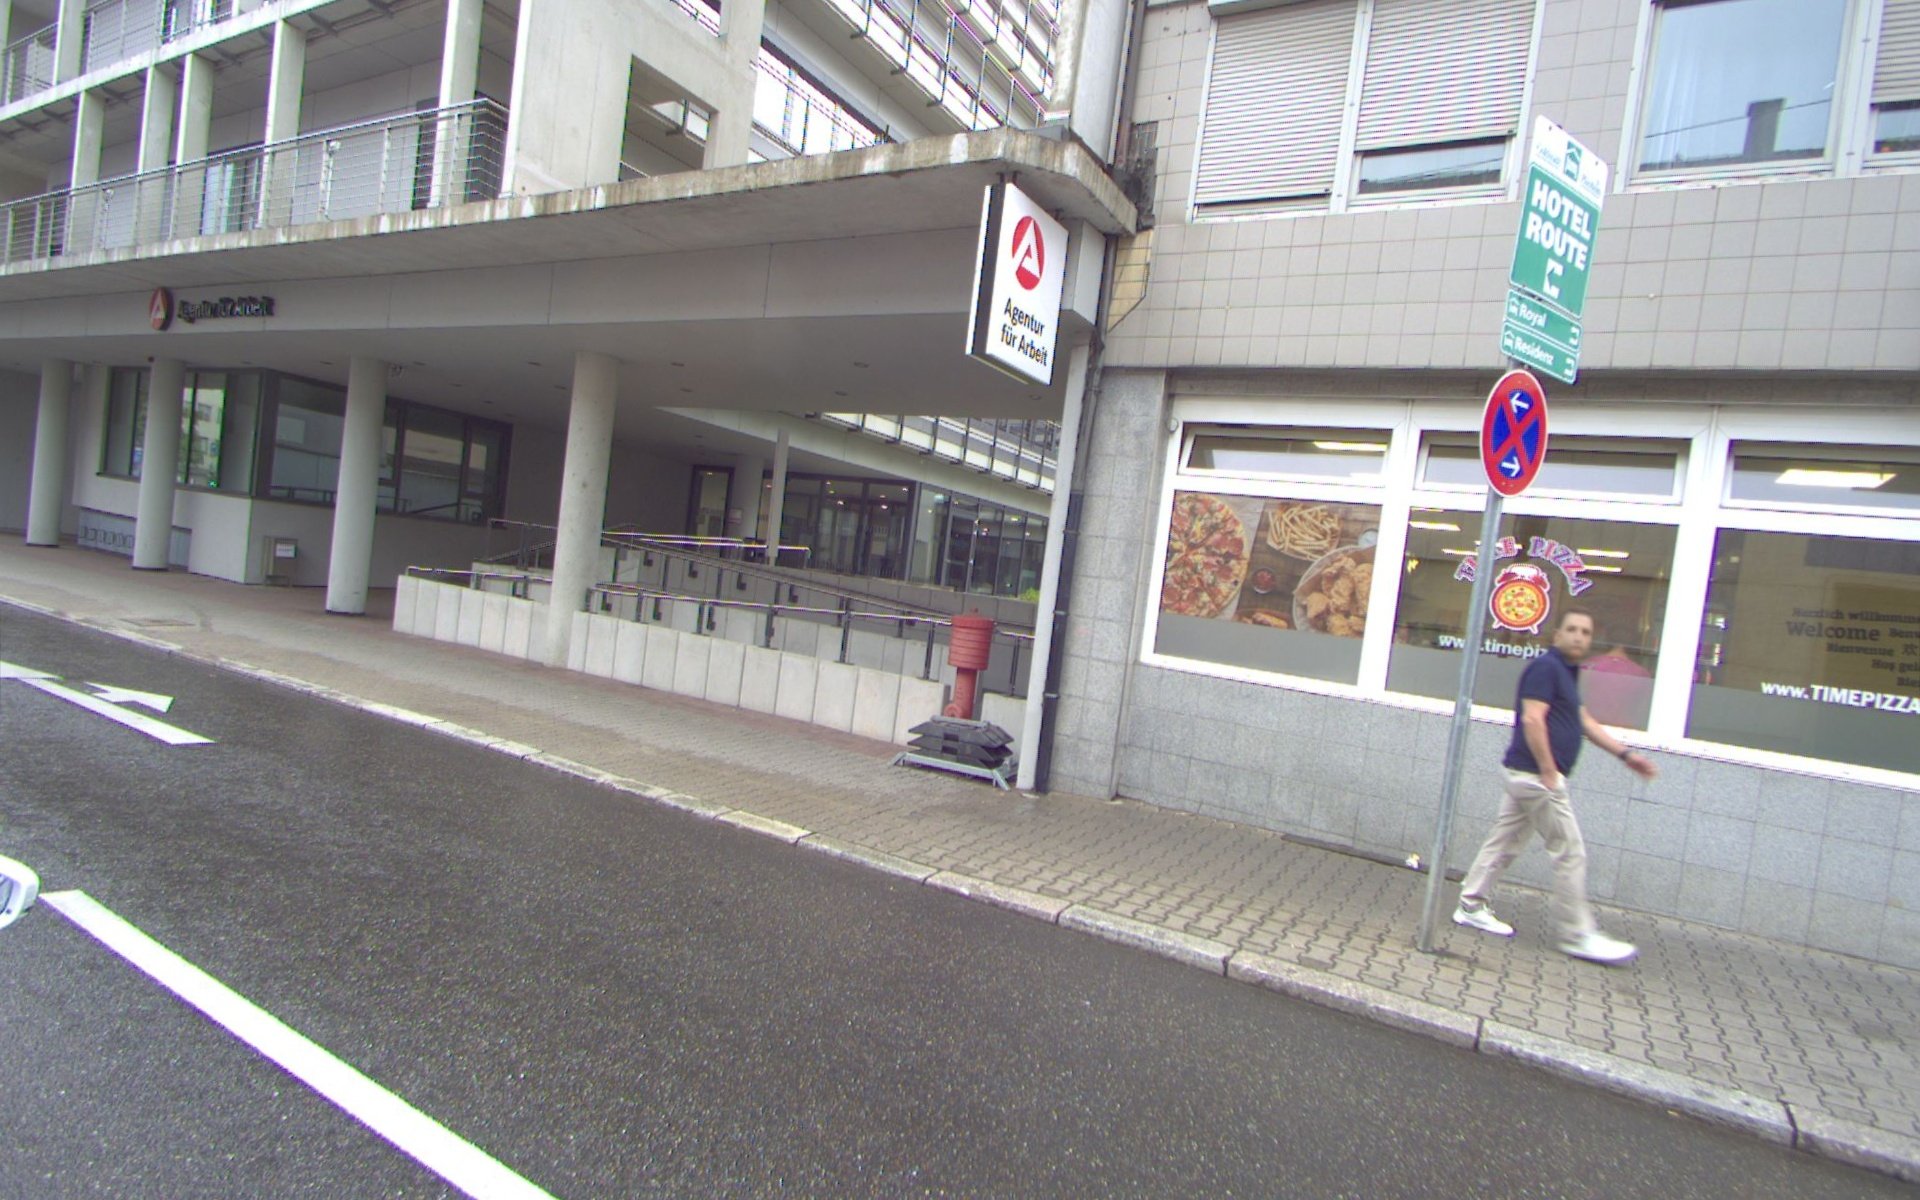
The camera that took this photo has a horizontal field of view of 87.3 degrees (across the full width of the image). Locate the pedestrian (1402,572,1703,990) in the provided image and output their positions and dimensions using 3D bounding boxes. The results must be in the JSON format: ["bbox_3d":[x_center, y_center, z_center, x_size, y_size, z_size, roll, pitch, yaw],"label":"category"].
[{"bbox_3d":[3.094,0.843,5.337,1.101,1.893,0.868,6,5,32],"label":"pedestrian"}]
